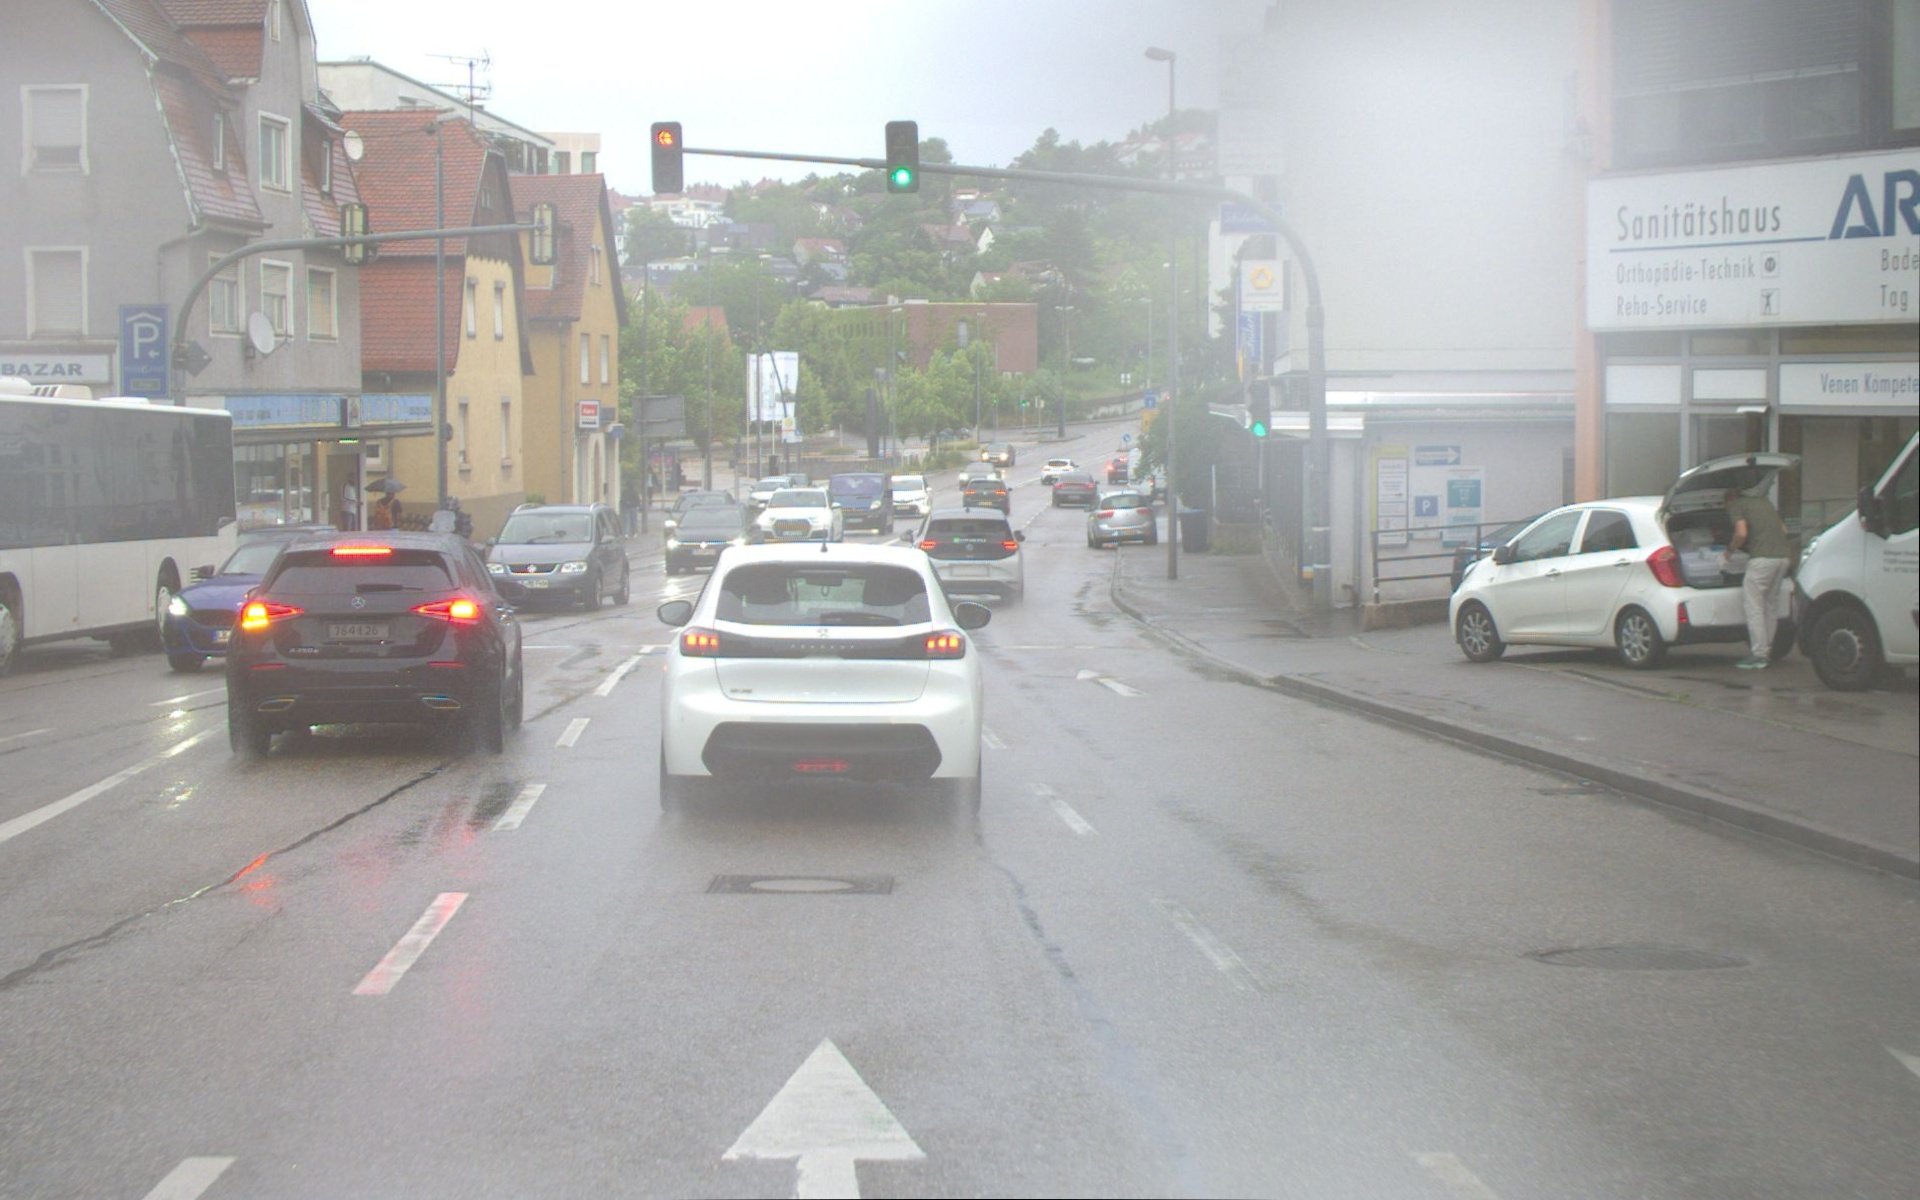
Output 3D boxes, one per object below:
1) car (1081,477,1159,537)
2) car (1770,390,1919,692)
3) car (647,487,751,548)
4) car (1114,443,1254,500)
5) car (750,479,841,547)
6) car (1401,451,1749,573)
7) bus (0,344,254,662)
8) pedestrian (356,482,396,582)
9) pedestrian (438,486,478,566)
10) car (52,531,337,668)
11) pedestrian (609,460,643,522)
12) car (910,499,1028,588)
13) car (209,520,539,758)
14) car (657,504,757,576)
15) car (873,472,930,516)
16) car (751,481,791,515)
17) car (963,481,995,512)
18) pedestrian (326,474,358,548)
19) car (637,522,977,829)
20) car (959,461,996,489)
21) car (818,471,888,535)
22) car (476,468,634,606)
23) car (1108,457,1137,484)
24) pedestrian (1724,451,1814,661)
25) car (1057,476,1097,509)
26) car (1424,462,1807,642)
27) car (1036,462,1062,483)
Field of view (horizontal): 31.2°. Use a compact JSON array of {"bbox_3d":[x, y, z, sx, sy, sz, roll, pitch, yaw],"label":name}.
[{"bbox_3d":[4.453,-2.586,95.973,2.011,1.616,4.361,0,1,1],"label":"car"},{"bbox_3d":[8.623,-0.407,25.862,2.001,2.201,4.876,-5,7,-33],"label":"car"},{"bbox_3d":[-7.291,-2.330,96.527,2.001,1.612,4.947,-1,2,6],"label":"car"},{"bbox_3d":[9.876,-5.659,150.974,2.297,2.373,6.608,0,2,45],"label":"car"},{"bbox_3d":[-4.352,-2.332,91.470,2.098,1.706,4.850,-1,2,1],"label":"car"},{"bbox_3d":[8.123,-1.184,45.288,4.386,1.406,1.737,-4,3,-29],"label":"car"},{"bbox_3d":[-10.615,-1.037,37.316,2.892,3.088,11.999,-1,2,2],"label":"bus"},{"bbox_3d":[-11.313,-1.322,66.660,0.661,1.914,0.947,1,2,-5],"label":"pedestrian"},{"bbox_3d":[-8.784,-1.298,60.150,0.579,1.389,0.561,-1,2,0],"label":"pedestrian"},{"bbox_3d":[-7.835,-0.047,35.582,1.896,1.252,4.194,-1,2,1],"label":"car"},{"bbox_3d":[-9.842,-3.208,101.292,0.801,1.782,0.882,-1,2,5],"label":"pedestrian"},{"bbox_3d":[0.116,-0.935,55.337,1.741,1.291,3.335,-2,3,-2],"label":"car"},{"bbox_3d":[-3.972,0.196,23.905,1.715,1.445,4.199,-1,2,-3],"label":"car"},{"bbox_3d":[-5.404,-1.310,73.774,1.758,1.429,4.381,-1,2,1],"label":"car"},{"bbox_3d":[-2.214,-4.044,131.101,1.878,1.603,4.719,-1,2,2],"label":"car"},{"bbox_3d":[-7.571,-4.094,137.939,1.370,1.309,3.042,-1,2,1],"label":"car"},{"bbox_3d":[0.738,-4.010,133.269,1.213,1.152,2.270,-1,2,1],"label":"car"},{"bbox_3d":[-13.040,-1.878,72.507,0.543,1.552,0.446,-1,2,3],"label":"pedestrian"},{"bbox_3d":[-0.802,0.339,19.361,1.691,1.514,3.933,-1,1,-1],"label":"car"},{"bbox_3d":[0.950,-6.687,183.875,1.768,1.408,4.526,-1,2,2],"label":"car"},{"bbox_3d":[-3.373,-3.074,109.163,1.965,1.931,5.180,-1,2,1],"label":"car"},{"bbox_3d":[-6.208,-0.995,53.135,1.634,2.006,4.285,-1,2,4],"label":"car"},{"bbox_3d":[9.358,-7.454,198.041,1.648,1.479,3.366,-1,2,3],"label":"car"},{"bbox_3d":[6.958,-0.387,29.581,0.593,1.760,0.600,-2,3,-4],"label":"pedestrian"},{"bbox_3d":[5.046,-4.643,148.370,1.734,1.383,3.352,0,2,2],"label":"car"},{"bbox_3d":[5.881,-0.449,31.184,1.611,1.457,3.425,-4,3,-26],"label":"car"},{"bbox_3d":[5.018,-7.184,193.810,1.385,1.122,2.610,-1,2,3],"label":"car"}]
